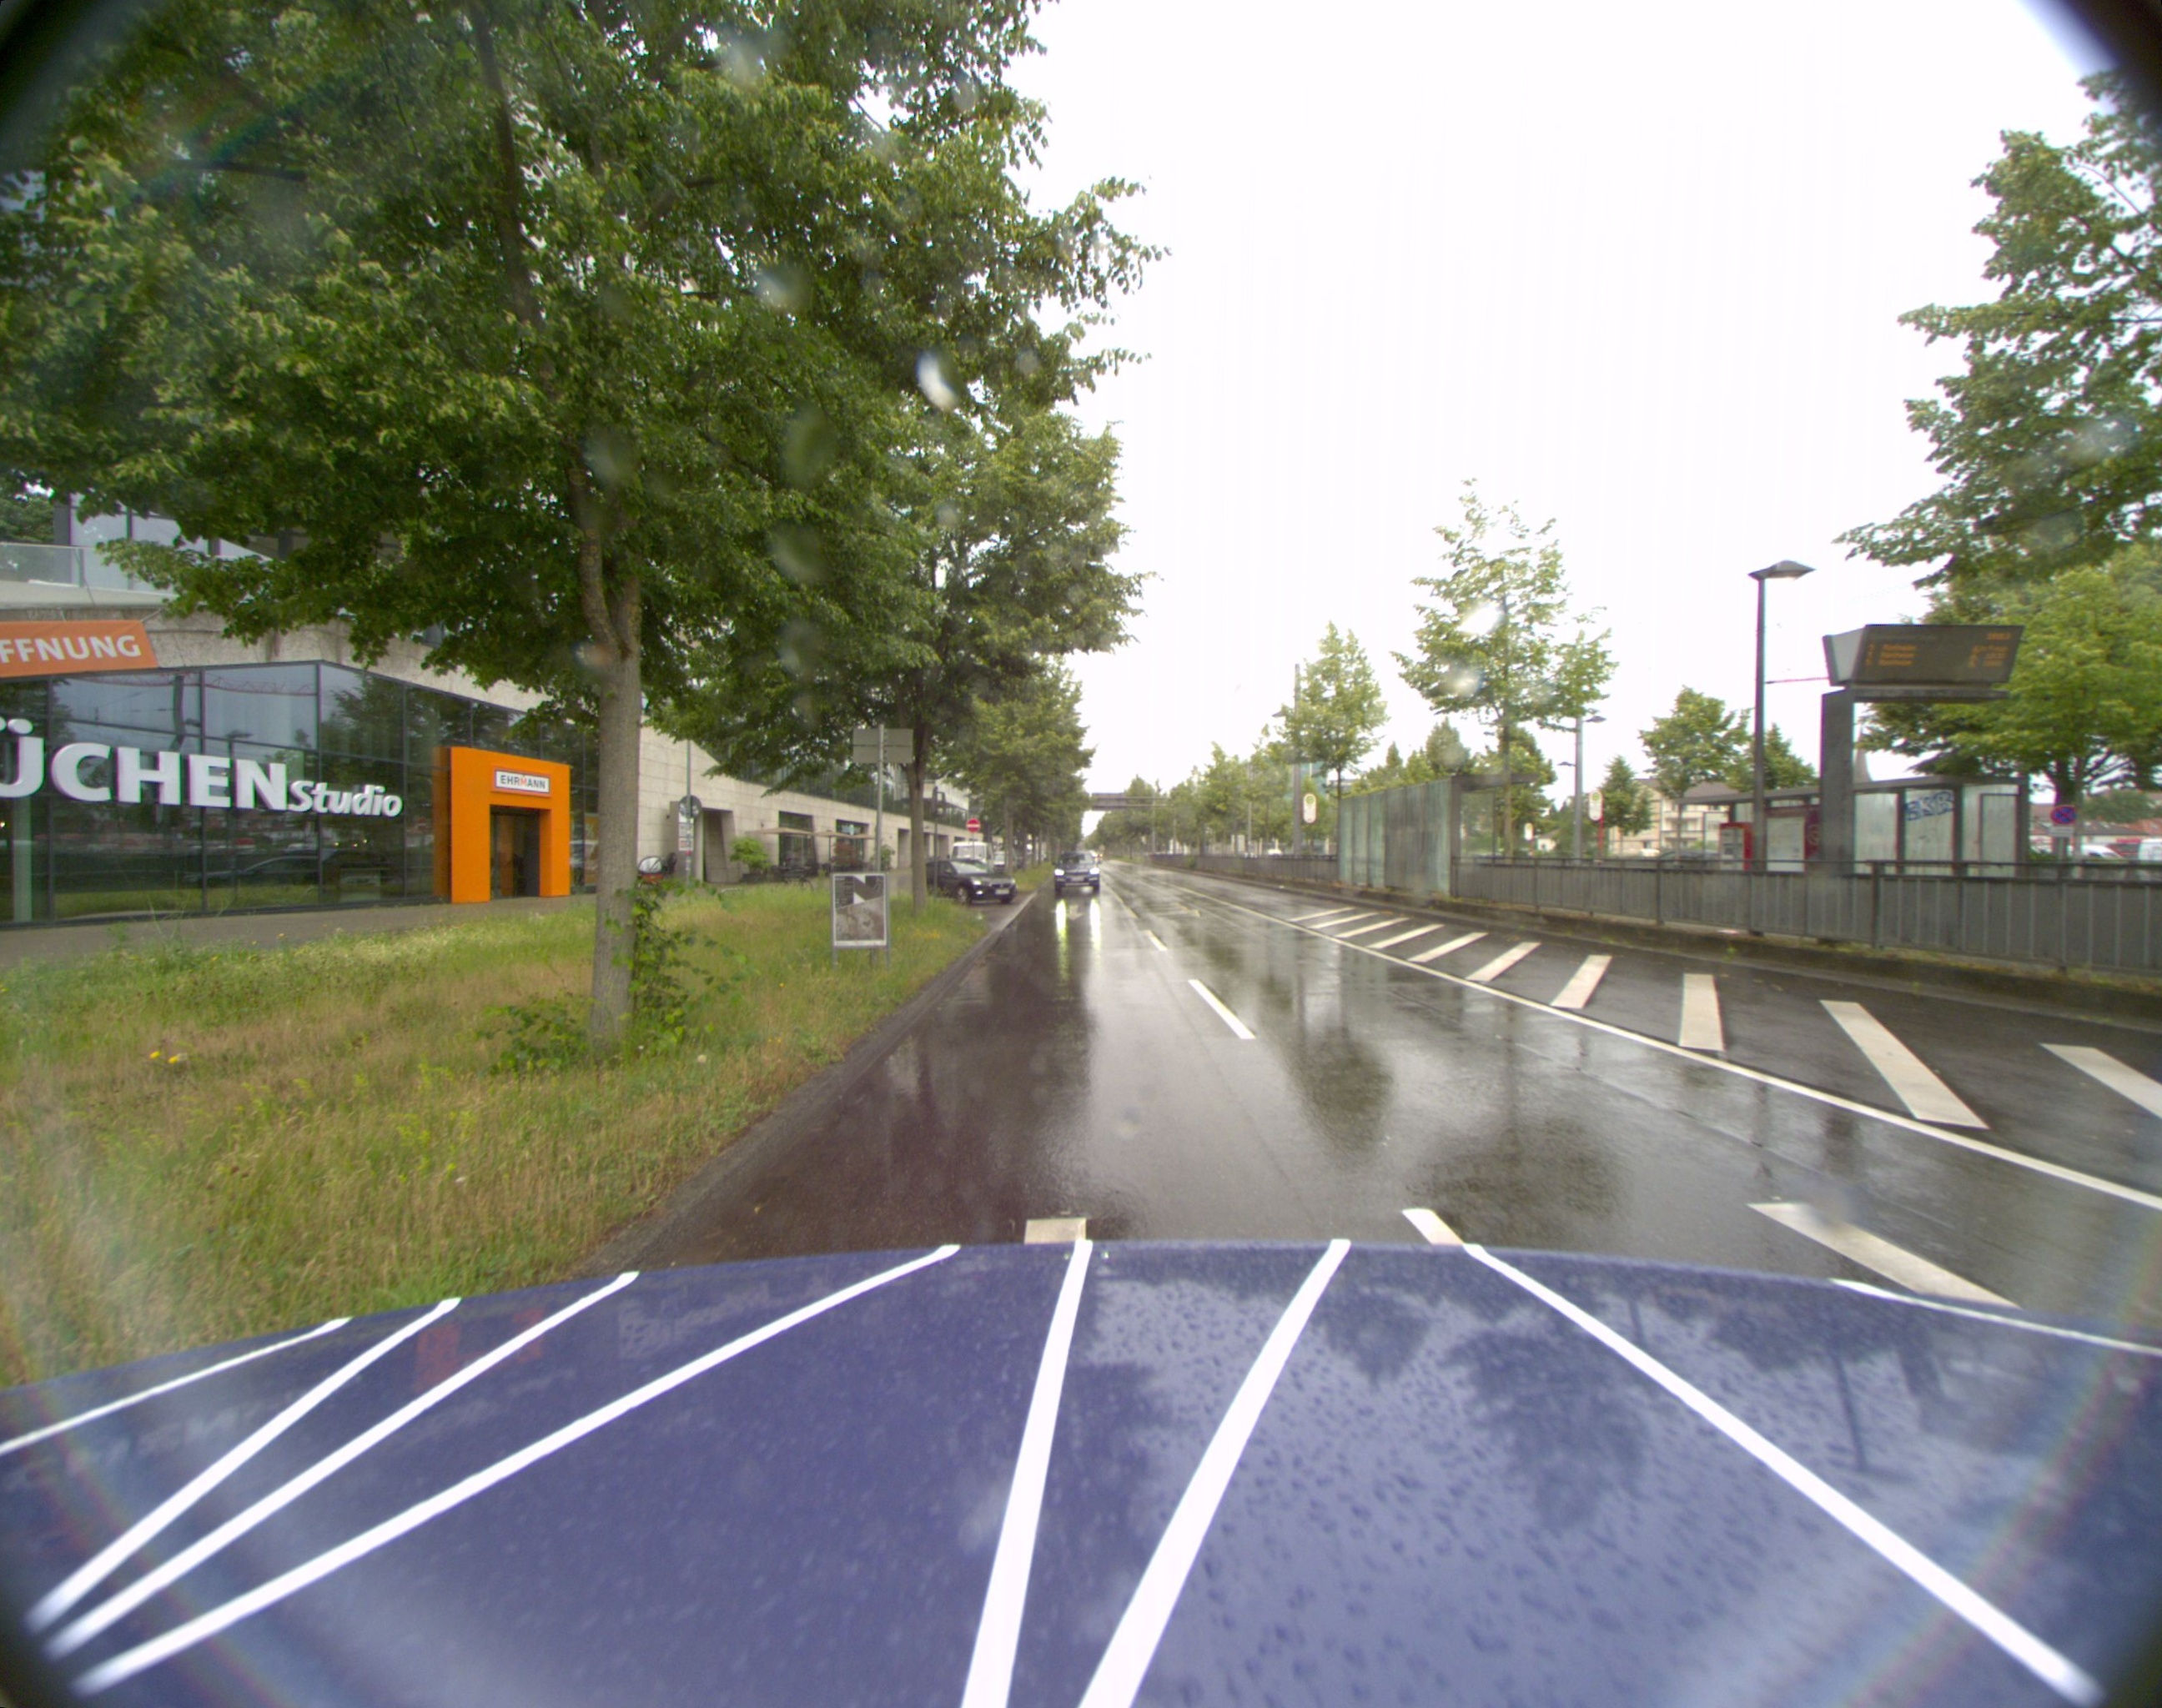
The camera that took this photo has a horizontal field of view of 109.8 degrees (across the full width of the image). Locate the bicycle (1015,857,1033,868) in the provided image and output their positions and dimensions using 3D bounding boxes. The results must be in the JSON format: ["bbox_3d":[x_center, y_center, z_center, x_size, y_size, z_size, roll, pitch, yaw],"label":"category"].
[{"bbox_3d":[-5.416,0.781,71.663,1.649,0.940,0.395,-2,1,-4],"label":"bicycle"}]

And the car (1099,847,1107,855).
[{"bbox_3d":[6.121,-0.798,211.155,1.998,2.232,3.999,-2,1,1],"label":"car"}]

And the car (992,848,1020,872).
[{"bbox_3d":[-5.902,0.431,60.067,1.746,1.749,4.847,-1,1,0],"label":"car"}]

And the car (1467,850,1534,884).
[{"bbox_3d":[25.217,0.748,45.837,1.761,2.002,3.999,0,0,0],"label":"car"}]

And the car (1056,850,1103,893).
[{"bbox_3d":[-0.013,0.682,32.180,1.816,1.603,3.999,-2,1,1],"label":"car"}]

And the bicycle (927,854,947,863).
[{"bbox_3d":[-15.611,0.498,82.290,2.029,0.940,0.395,1,1,-4],"label":"bicycle"}]

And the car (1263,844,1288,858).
[{"bbox_3d":[25.797,-0.406,100.887,1.999,1.736,3.998,-2,1,-2],"label":"car"}]

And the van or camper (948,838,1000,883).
[{"bbox_3d":[-5.793,0.282,41.794,2.030,2.279,5.459,-1,1,0],"label":"van or camper"}]

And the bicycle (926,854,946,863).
[{"bbox_3d":[-15.584,0.502,81.589,2.029,0.940,0.395,1,1,-4],"label":"bicycle"}]

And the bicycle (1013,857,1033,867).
[{"bbox_3d":[-5.605,0.755,72.930,1.862,0.940,0.395,-2,1,-4],"label":"bicycle"}]

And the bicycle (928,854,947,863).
[{"bbox_3d":[-15.656,0.493,82.882,2.029,0.940,0.395,1,1,-4],"label":"bicycle"}]

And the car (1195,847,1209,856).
[{"bbox_3d":[23.738,-0.521,148.954,1.999,1.736,3.998,-2,1,-2],"label":"car"}]

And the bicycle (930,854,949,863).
[{"bbox_3d":[-15.767,0.471,84.707,2.029,0.940,0.395,1,1,-4],"label":"bicycle"}]

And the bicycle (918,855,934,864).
[{"bbox_3d":[-15.916,0.540,77.975,1.657,0.940,0.347,1,1,19],"label":"bicycle"}]

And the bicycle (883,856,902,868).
[{"bbox_3d":[-14.879,0.644,59.926,0.396,0.940,2.024,-4,2,-45],"label":"bicycle"}]

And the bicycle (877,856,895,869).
[{"bbox_3d":[-15.276,0.668,59.458,0.396,0.940,2.024,-4,2,-45],"label":"bicycle"}]

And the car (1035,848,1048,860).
[{"bbox_3d":[-5.679,0.000,109.992,1.659,1.711,3.999,-2,1,0],"label":"car"}]

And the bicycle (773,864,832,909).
[{"bbox_3d":[-8.548,0.981,23.298,1.843,1.338,0.533,-1,0,26],"label":"bicycle"}]

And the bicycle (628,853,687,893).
[{"bbox_3d":[-15.368,0.660,27.671,0.734,1.394,2.425,1,0,1],"label":"bicycle"}]

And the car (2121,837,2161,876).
[{"bbox_3d":[70.190,0.155,47.086,1.999,2.448,6.744,-2,1,-4],"label":"car"}]

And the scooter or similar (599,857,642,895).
[{"bbox_3d":[-15.562,0.734,25.693,0.342,1.221,1.242,-2,1,20],"label":"scooter or similar"}]

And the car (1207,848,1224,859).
[{"bbox_3d":[23.029,-0.076,130.419,1.999,1.736,3.998,-2,1,-2],"label":"car"}]

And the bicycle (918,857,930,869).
[{"bbox_3d":[-12.865,0.700,62.230,0.402,0.940,1.859,-1,1,8],"label":"bicycle"}]

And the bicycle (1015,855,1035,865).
[{"bbox_3d":[-5.860,0.662,79.290,2.040,0.940,0.542,-2,1,-4],"label":"bicycle"}]

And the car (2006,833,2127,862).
[{"bbox_3d":[84.449,-0.547,65.278,2.000,2.293,6.138,-3,1,-8],"label":"car"}]

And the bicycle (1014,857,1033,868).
[{"bbox_3d":[-5.332,0.810,70.911,1.699,0.940,0.395,-2,1,-4],"label":"bicycle"}]

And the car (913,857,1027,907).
[{"bbox_3d":[-3.702,0.847,24.687,1.836,1.412,4.334,-1,1,-36],"label":"car"}]
